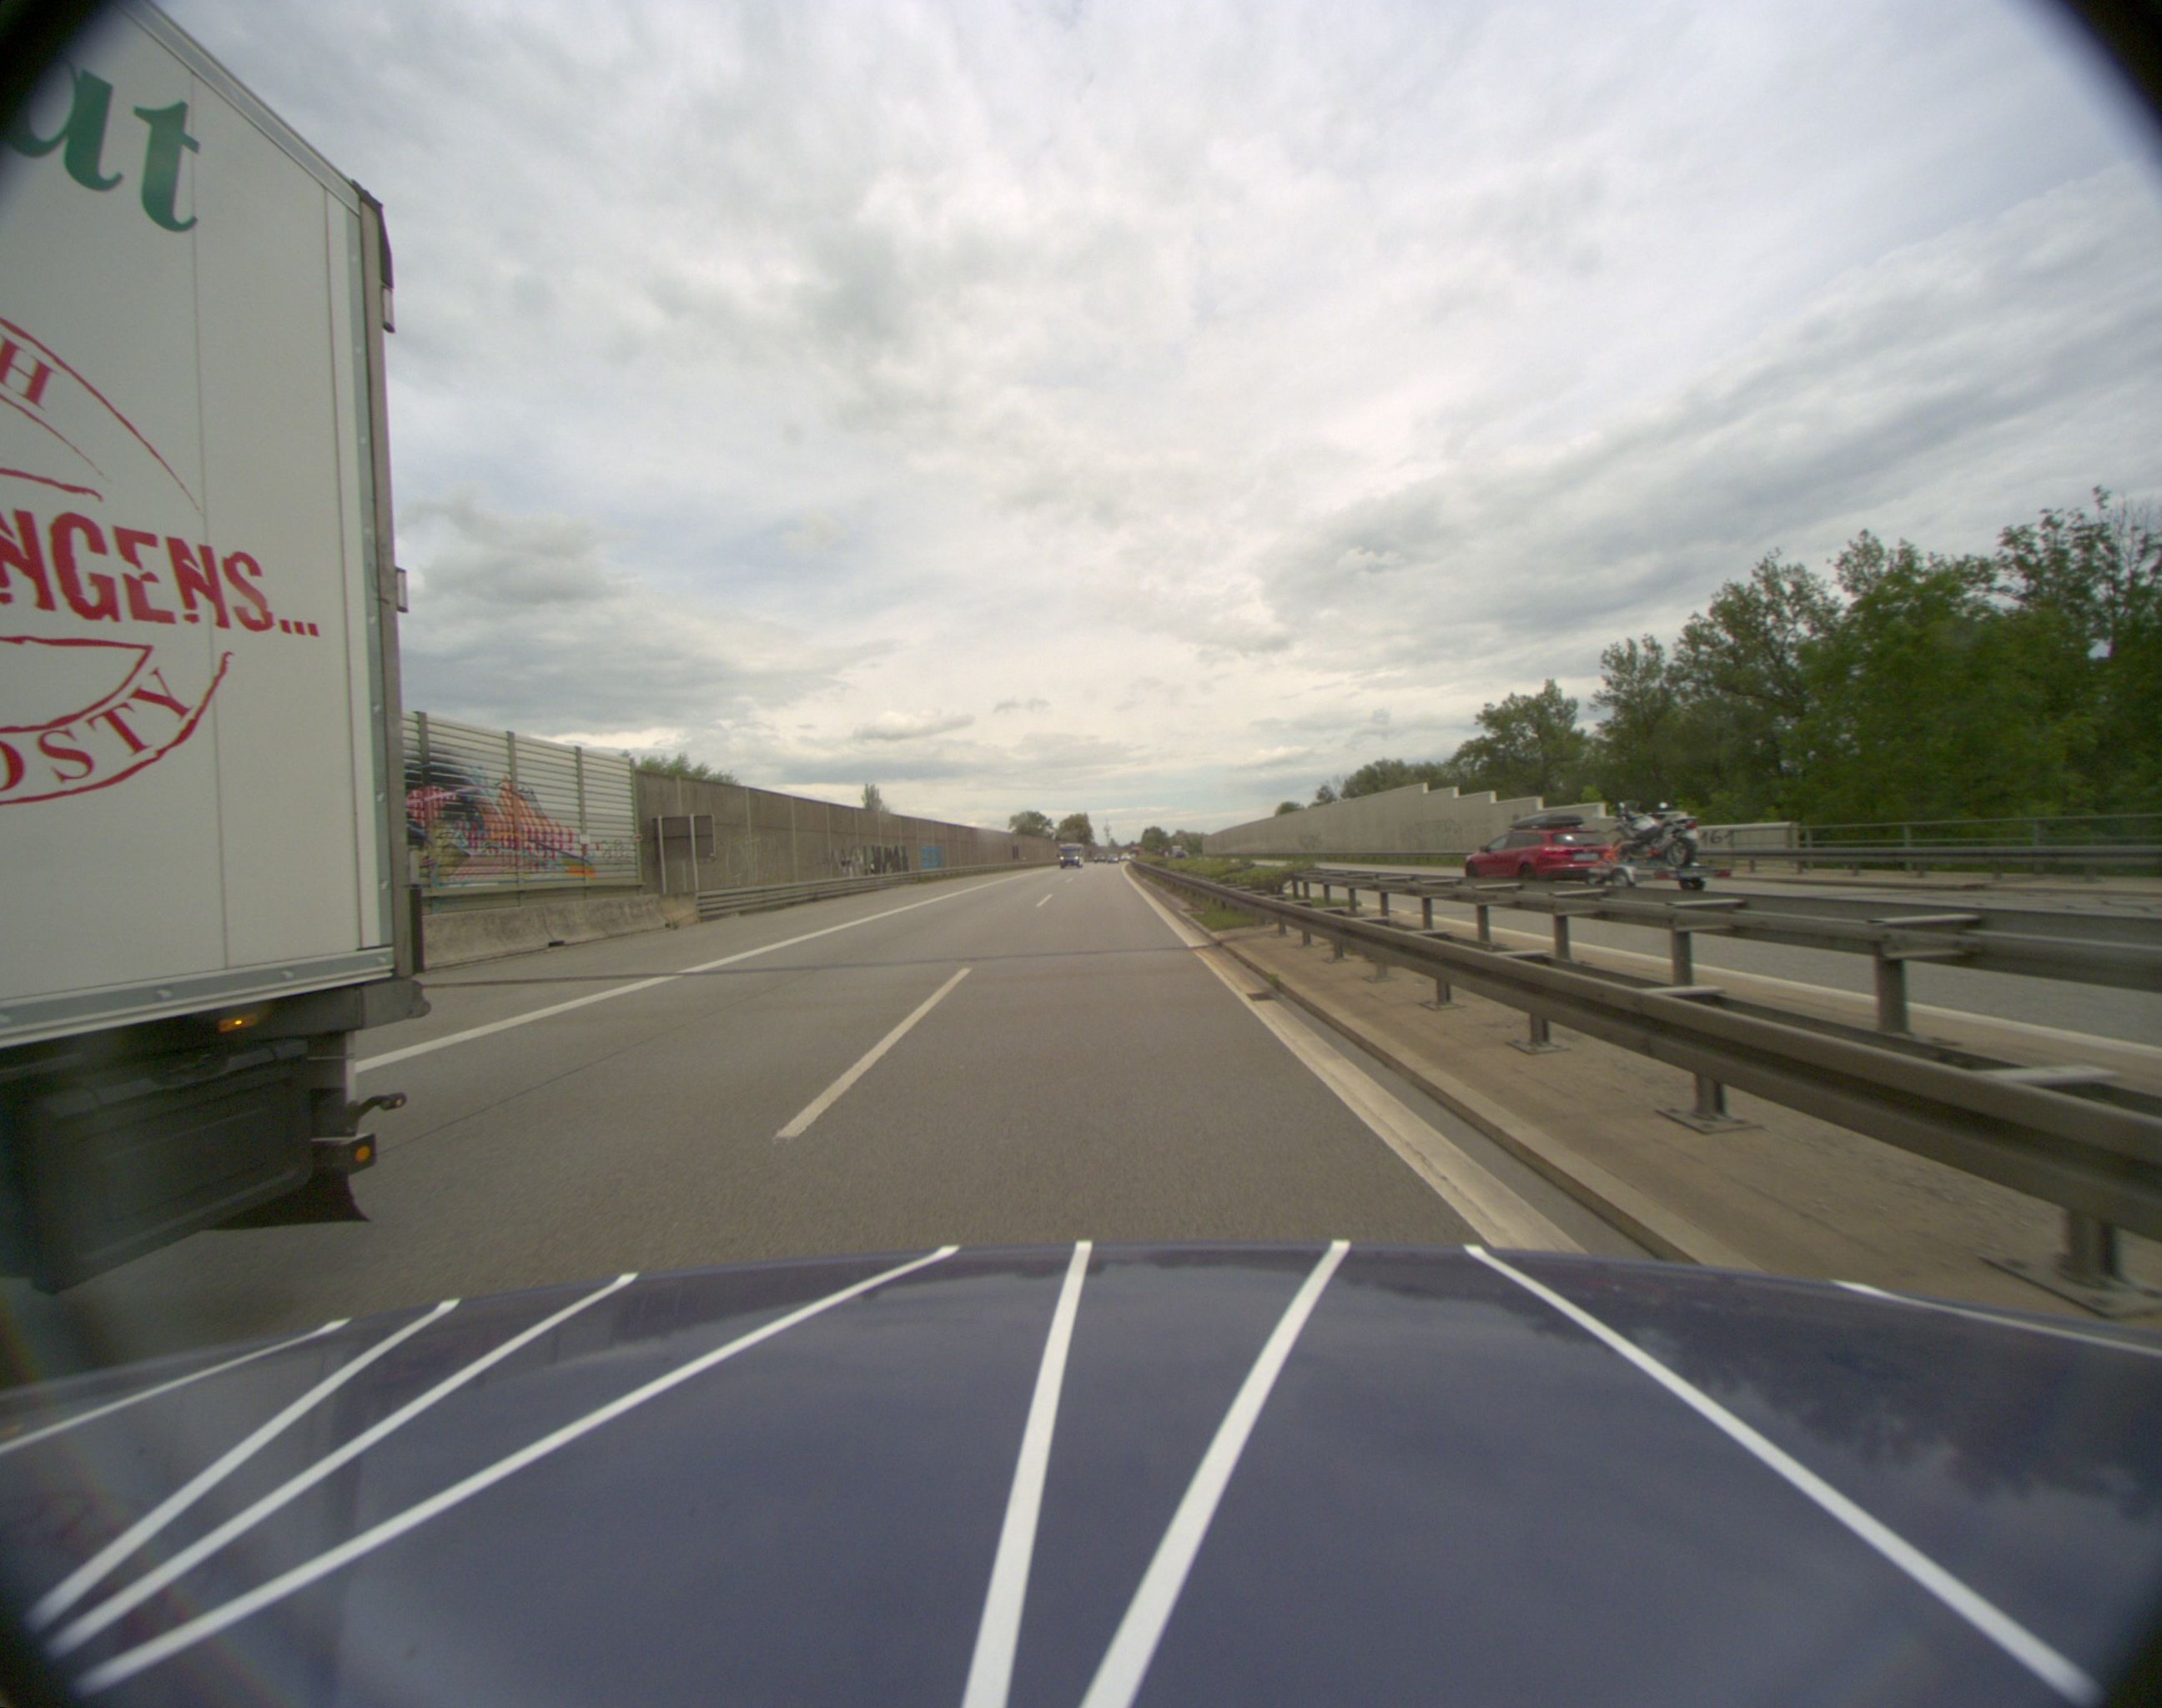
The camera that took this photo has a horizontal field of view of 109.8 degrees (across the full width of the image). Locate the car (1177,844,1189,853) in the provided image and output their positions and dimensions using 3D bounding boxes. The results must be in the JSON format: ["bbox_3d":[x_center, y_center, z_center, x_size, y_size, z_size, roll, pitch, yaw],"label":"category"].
[{"bbox_3d":[18.487,-1.082,137.818,1.815,1.538,4.518,-2,0,6],"label":"car"}]

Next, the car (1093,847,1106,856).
[{"bbox_3d":[3.341,-0.433,135.958,1.889,1.608,4.001,-2,0,5],"label":"car"}]

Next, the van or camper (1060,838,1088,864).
[{"bbox_3d":[-0.718,-0.283,84.738,2.435,2.681,7.227,-3,0,3],"label":"van or camper"}]

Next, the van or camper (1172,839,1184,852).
[{"bbox_3d":[21.743,-1.866,170.985,2.259,2.763,5.756,-2,1,4],"label":"van or camper"}]

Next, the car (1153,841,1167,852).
[{"bbox_3d":[13.261,-1.250,128.154,1.998,1.875,4.555,-2,0,2],"label":"car"}]

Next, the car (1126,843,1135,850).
[{"bbox_3d":[12.357,-1.776,190.131,1.888,1.608,4.002,-3,1,8],"label":"car"}]

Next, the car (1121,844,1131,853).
[{"bbox_3d":[9.311,-1.136,156.332,1.889,1.608,4.001,-2,0,4],"label":"car"}]

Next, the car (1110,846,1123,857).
[{"bbox_3d":[5.567,-0.350,119.162,1.889,1.608,4.001,-2,0,5],"label":"car"}]

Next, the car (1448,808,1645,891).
[{"bbox_3d":[11.513,-0.130,19.311,1.975,1.751,4.944,-3,1,1],"label":"car"}]

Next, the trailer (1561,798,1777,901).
[{"bbox_3d":[11.443,-0.097,15.088,1.652,1.738,3.375,-3,1,1],"label":"trailer"}]
